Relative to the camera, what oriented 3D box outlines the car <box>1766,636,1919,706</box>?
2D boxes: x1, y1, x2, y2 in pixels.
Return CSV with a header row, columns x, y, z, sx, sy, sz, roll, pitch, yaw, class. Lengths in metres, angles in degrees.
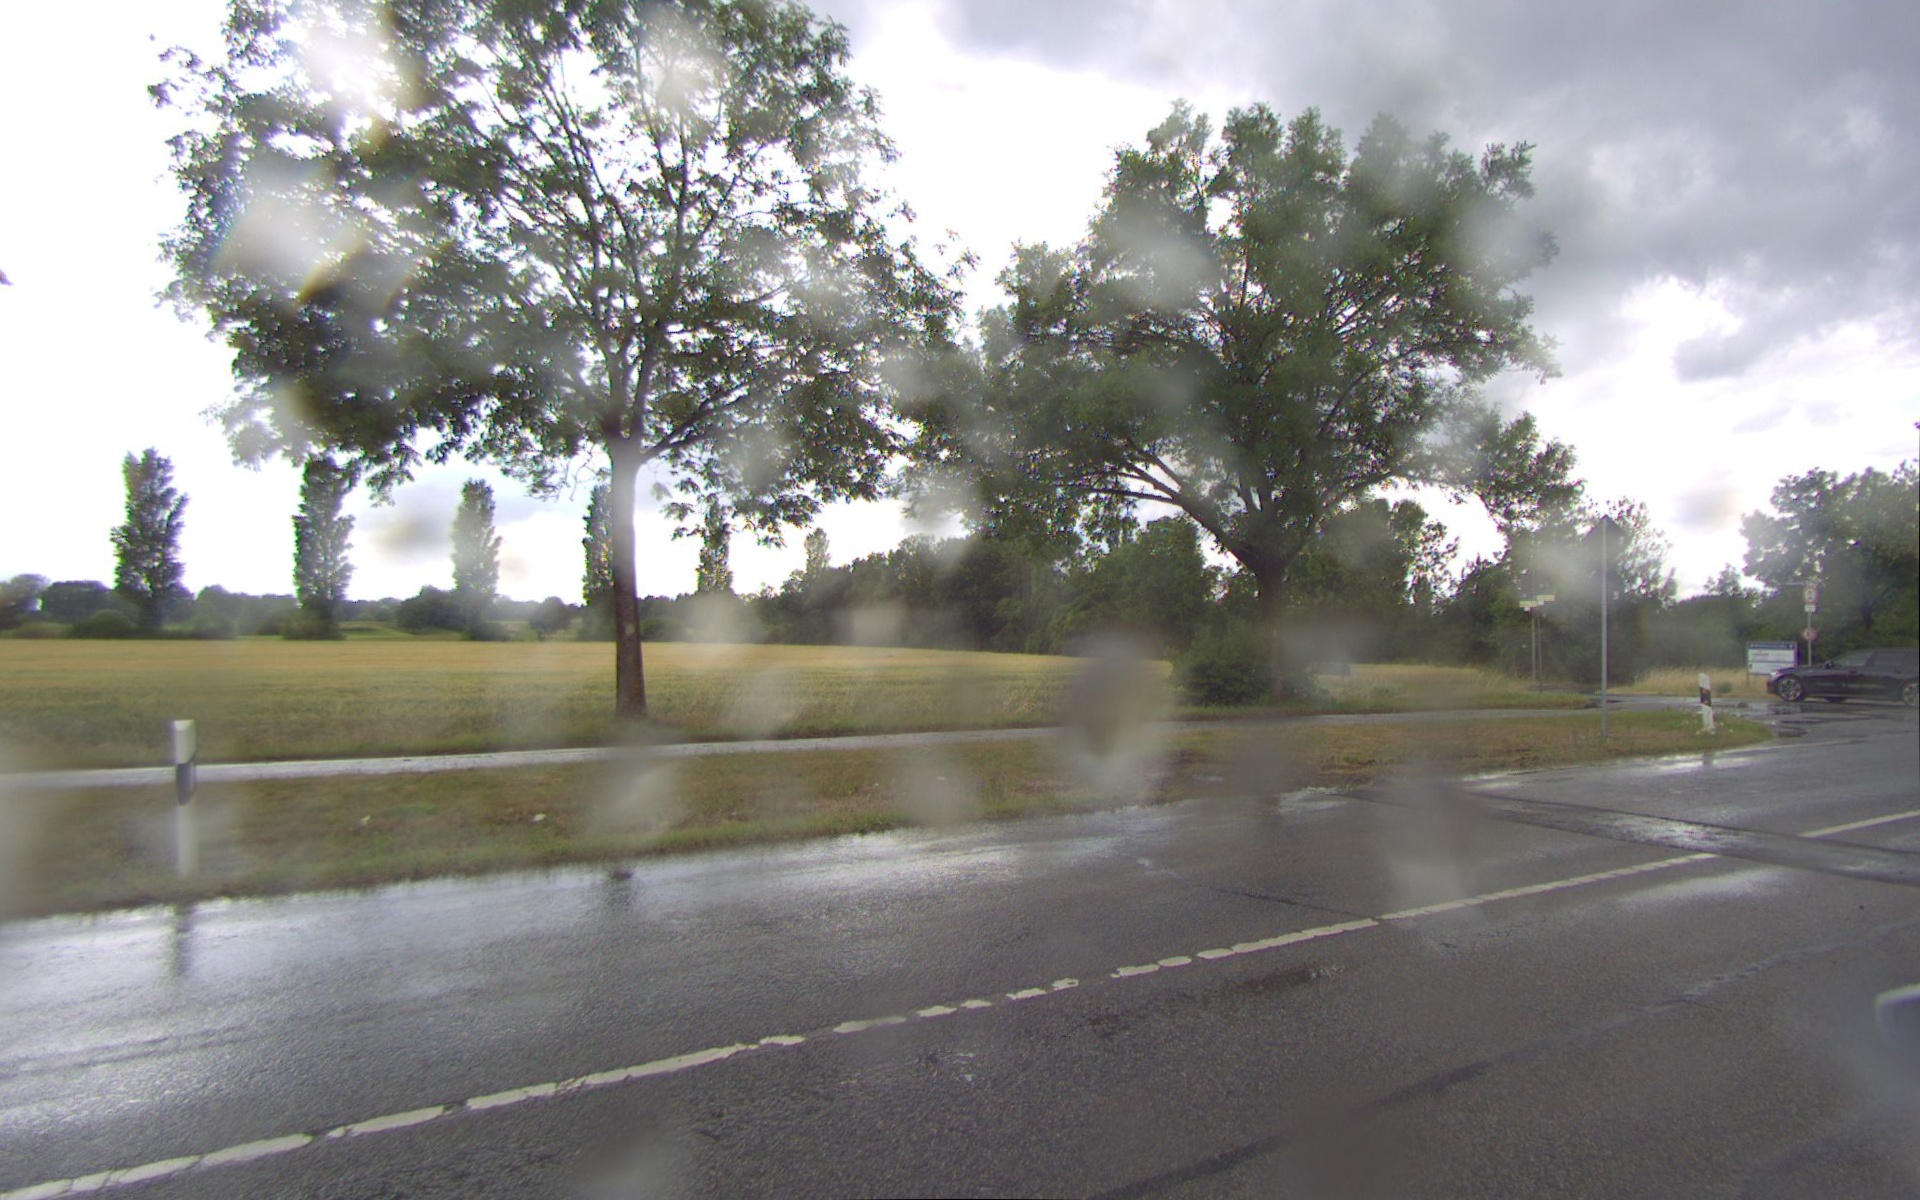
x,y,z,sx,sy,sz,roll,pitch,yaw,class
24.292,1.848,26.215,2.272,1.568,4.615,2,0,-17,car
